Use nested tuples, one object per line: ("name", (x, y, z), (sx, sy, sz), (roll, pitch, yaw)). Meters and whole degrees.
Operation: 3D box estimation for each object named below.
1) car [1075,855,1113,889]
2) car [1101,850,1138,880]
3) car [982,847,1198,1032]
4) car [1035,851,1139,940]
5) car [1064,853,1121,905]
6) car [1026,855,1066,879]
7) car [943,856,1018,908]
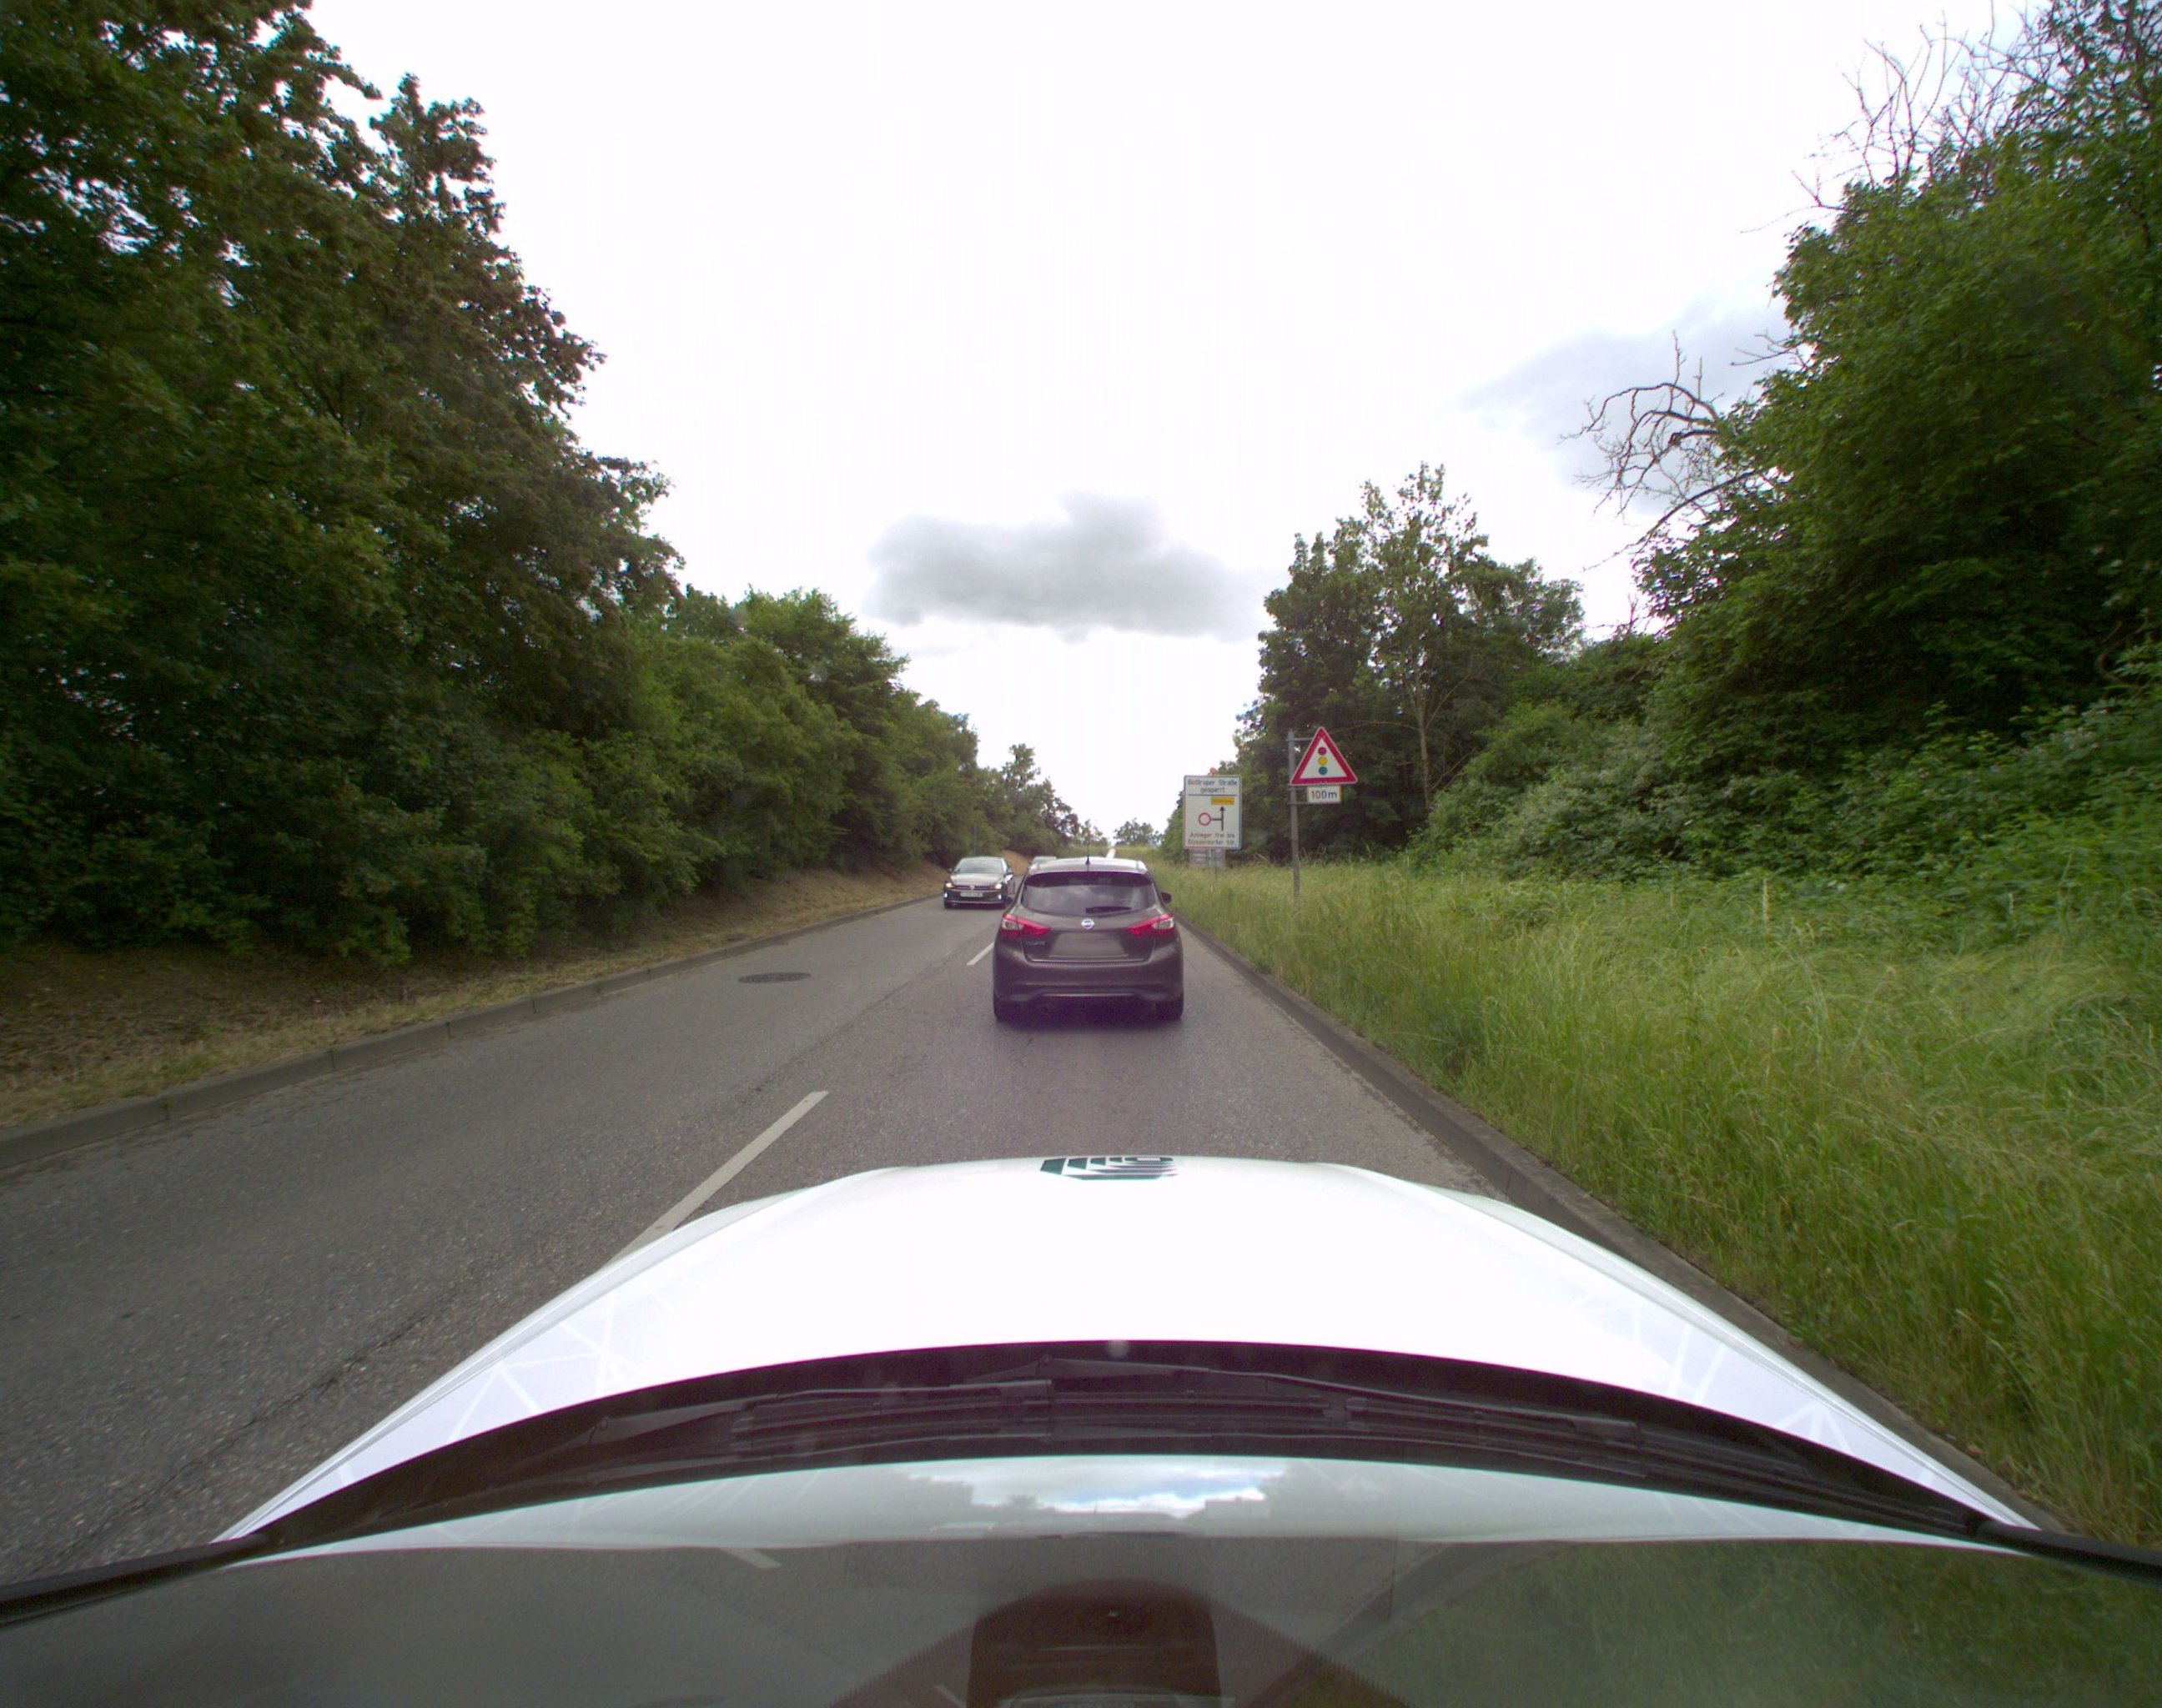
("car", (0.681, 0.837, 39.891), (1.729, 1.556, 3.545), (-1, 0, 2))
("car", (2.712, 0.729, 56.334), (1.722, 1.935, 3.559), (-2, 0, 16))
("car", (0.082, 0.729, 8.714), (1.824, 1.556, 3.499), (-1, 0, 0))
("car", (0.182, 0.738, 16.420), (1.823, 1.556, 3.626), (-1, 0, 2))
("car", (0.436, 0.773, 26.932), (1.729, 1.556, 3.545), (-1, 0, 2))
("car", (-2.189, 0.775, 51.445), (1.632, 1.400, 3.832), (2, 0, 10))
("car", (-2.874, 0.762, 23.926), (1.636, 1.400, 3.822), (-1, 0, 1))
